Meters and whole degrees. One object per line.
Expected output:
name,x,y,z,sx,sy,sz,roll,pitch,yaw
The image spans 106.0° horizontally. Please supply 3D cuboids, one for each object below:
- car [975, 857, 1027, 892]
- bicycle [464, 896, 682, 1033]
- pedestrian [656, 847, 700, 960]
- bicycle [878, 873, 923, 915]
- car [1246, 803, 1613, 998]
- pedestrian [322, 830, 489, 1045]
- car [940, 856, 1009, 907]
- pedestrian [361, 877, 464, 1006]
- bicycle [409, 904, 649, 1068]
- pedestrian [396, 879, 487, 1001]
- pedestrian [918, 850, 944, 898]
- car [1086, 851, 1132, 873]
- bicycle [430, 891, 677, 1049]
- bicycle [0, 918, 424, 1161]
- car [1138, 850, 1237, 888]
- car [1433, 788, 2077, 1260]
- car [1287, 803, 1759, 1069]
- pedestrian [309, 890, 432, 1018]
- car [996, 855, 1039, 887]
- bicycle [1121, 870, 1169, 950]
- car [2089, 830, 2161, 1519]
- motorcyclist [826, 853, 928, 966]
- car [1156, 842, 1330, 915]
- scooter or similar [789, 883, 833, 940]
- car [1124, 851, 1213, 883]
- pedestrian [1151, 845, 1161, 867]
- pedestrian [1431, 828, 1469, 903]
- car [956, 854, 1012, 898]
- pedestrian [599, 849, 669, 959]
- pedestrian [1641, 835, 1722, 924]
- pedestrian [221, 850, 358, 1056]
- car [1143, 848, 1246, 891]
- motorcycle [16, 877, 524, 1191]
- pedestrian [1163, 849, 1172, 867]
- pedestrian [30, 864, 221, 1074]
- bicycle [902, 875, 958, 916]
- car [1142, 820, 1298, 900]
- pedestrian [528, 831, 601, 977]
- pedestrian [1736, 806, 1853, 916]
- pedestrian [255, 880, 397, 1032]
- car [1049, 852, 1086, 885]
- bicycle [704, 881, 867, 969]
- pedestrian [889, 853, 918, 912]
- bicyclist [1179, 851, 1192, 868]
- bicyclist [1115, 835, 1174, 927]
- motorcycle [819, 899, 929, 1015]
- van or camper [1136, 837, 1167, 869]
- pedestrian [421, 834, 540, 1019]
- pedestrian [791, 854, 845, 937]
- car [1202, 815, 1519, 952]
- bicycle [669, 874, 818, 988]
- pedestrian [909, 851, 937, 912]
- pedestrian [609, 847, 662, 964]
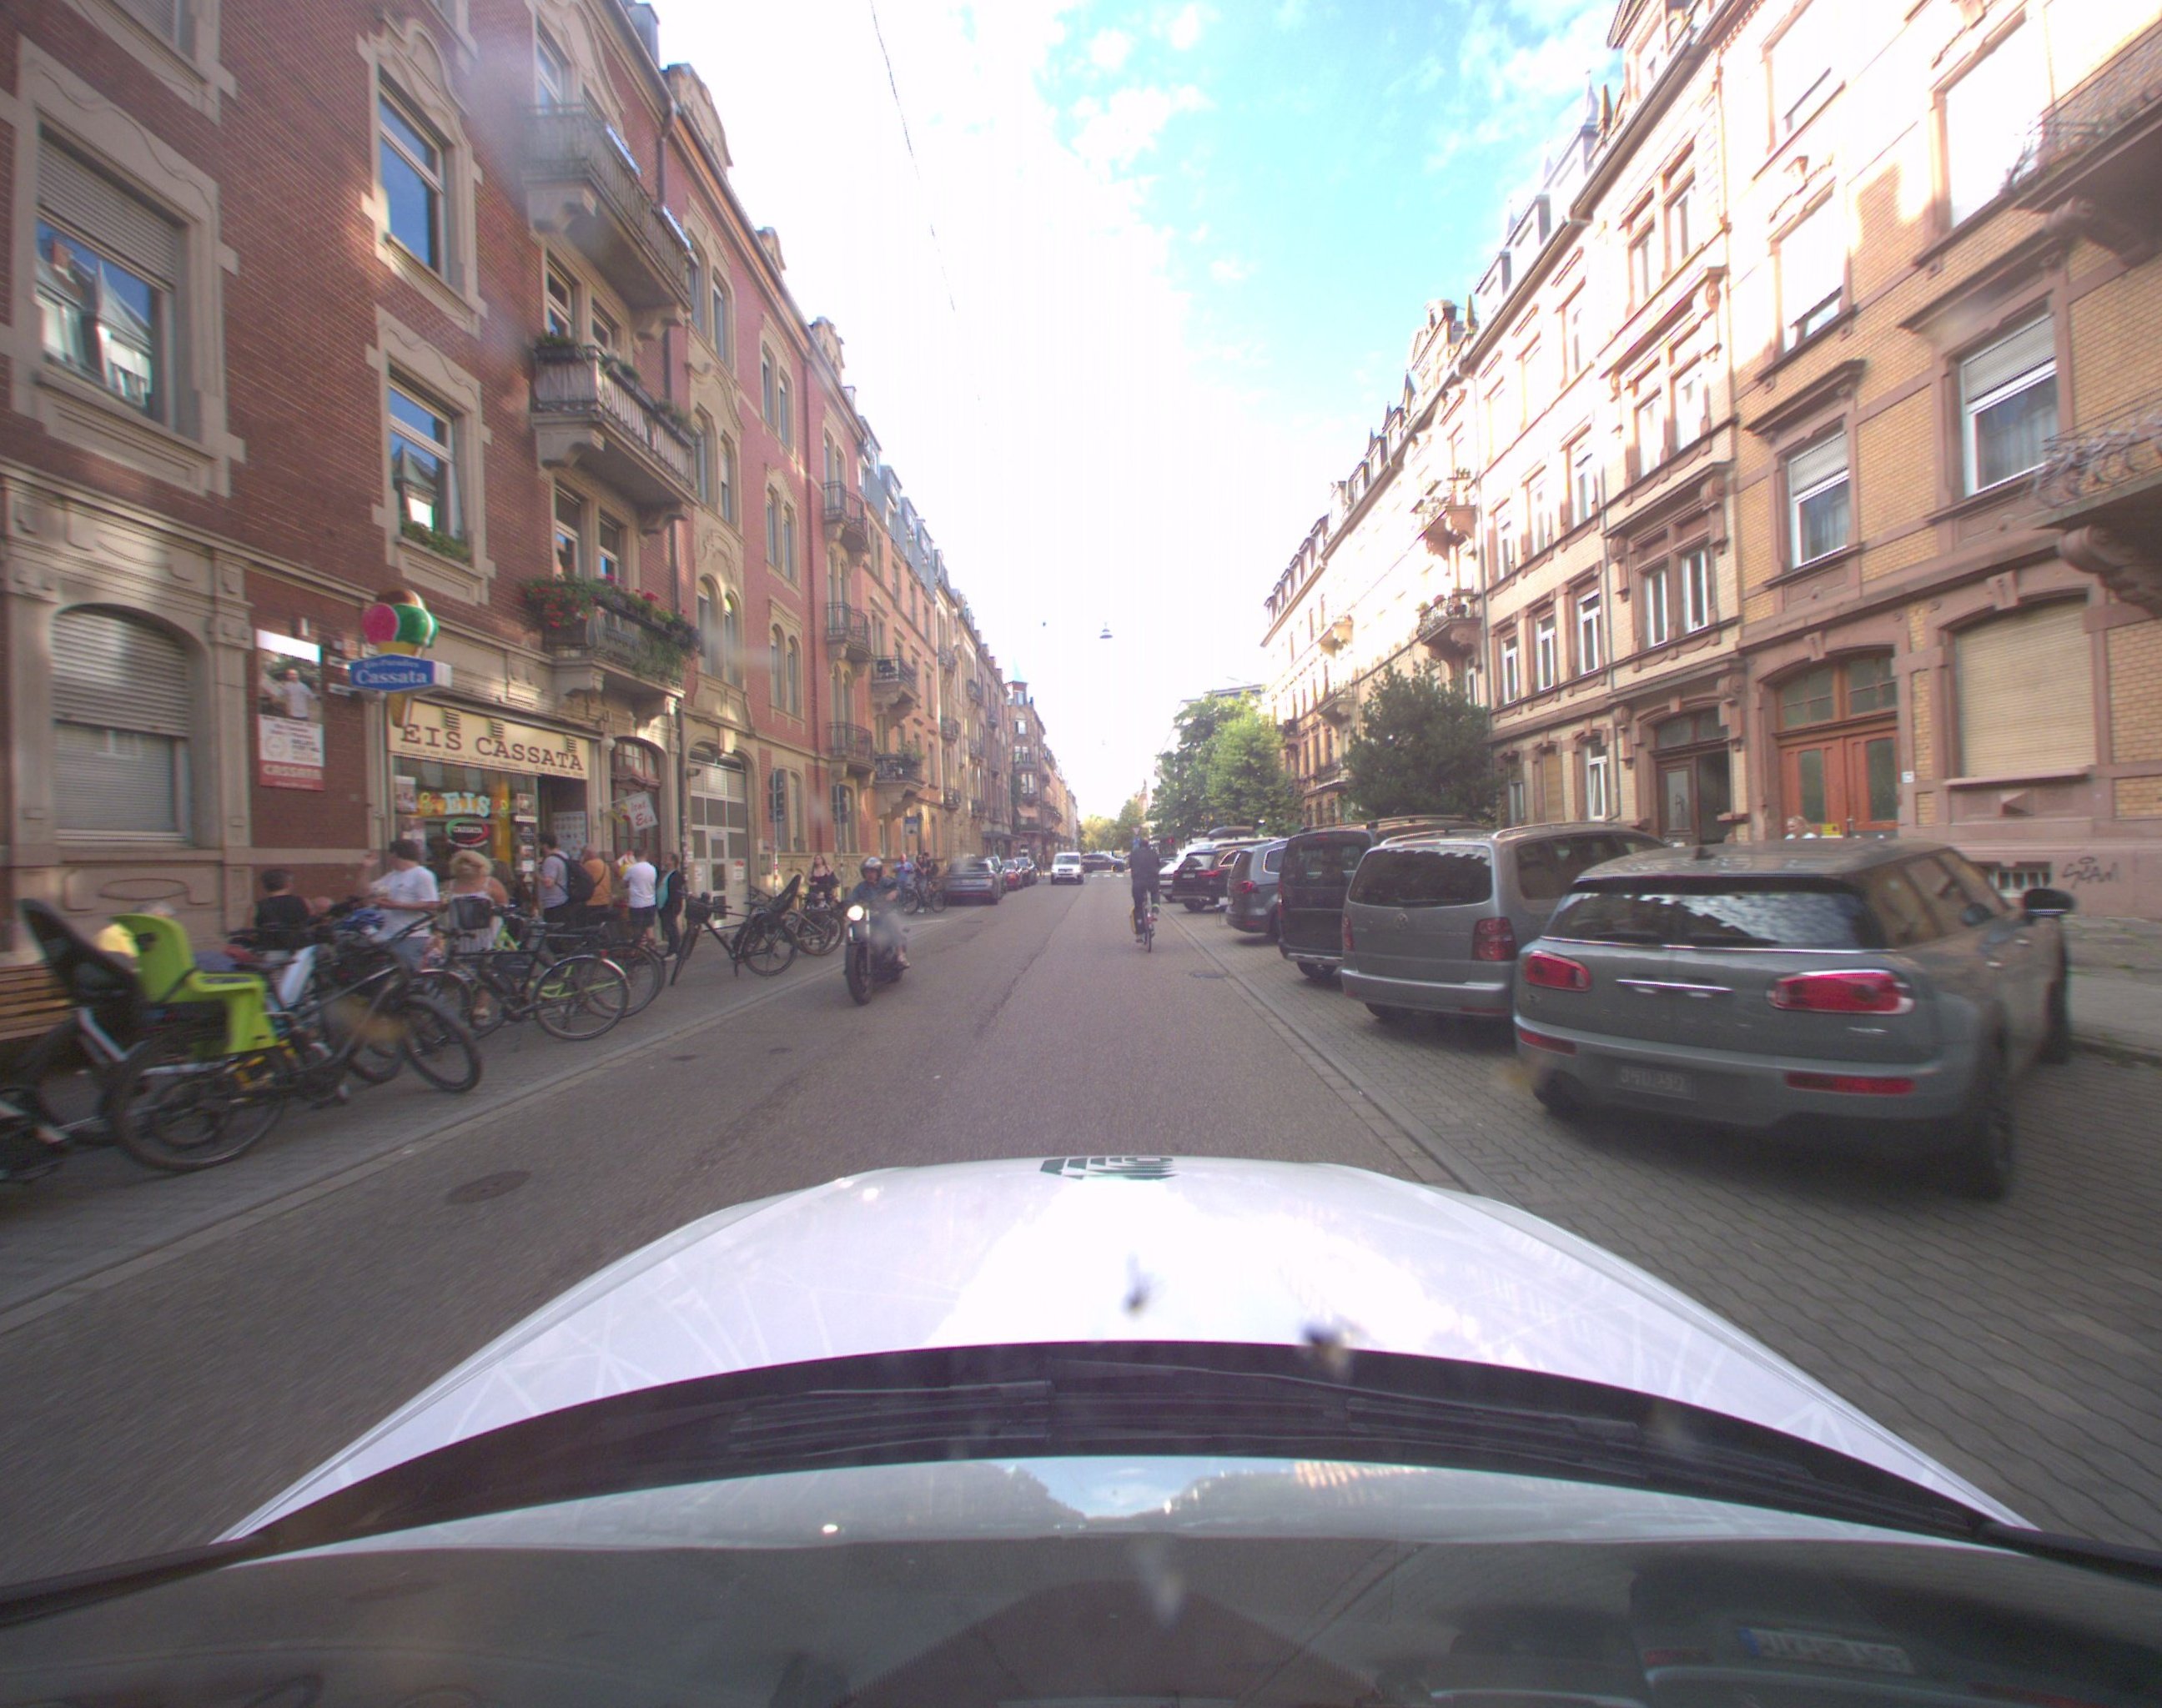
car,-3.823,0.951,39.791,1.986,1.545,4.427,-2,-1,1
bicycle,-4.893,1.013,7.923,1.745,1.120,0.549,0,-1,-35
pedestrian,-6.266,0.744,12.657,0.567,1.696,0.641,0,-1,-29
bicycle,-4.939,1.071,22.380,0.490,1.095,1.910,0,-1,11
car,4.323,0.424,9.918,4.418,1.822,1.738,-4,-1,-30
pedestrian,-5.907,0.686,7.167,0.600,1.751,0.949,-1,-1,14
car,-3.600,0.889,28.387,1.820,1.578,5.259,-1,0,-2
pedestrian,-7.114,0.917,8.681,0.715,1.313,0.439,-1,-1,-3
bicycle,-4.482,1.017,6.711,1.577,1.120,0.584,0,-1,-35
pedestrian,-7.130,0.942,9.092,0.699,1.313,0.372,-1,-1,-3
pedestrian,-5.766,0.759,31.320,0.752,1.808,0.864,-1,0,5
car,2.409,0.675,71.171,3.973,1.882,2.000,-1,0,0
bicycle,-4.680,0.971,7.331,1.798,1.200,0.584,0,-1,-35
bicycle,-5.191,1.012,5.041,0.574,1.090,1.745,-1,0,15
car,5.141,0.704,39.078,4.486,1.464,1.860,-4,1,-33
car,4.052,0.513,4.695,4.018,1.548,1.848,-4,0,-36
car,4.035,0.517,7.330,4.012,1.741,1.822,-3,0,-30
pedestrian,-7.096,0.982,8.159,0.706,1.196,0.585,-1,-1,-3
car,-3.454,0.938,45.259,1.784,1.628,4.849,-2,-1,2
bicycle,1.036,0.871,13.563,0.663,1.178,2.498,-1,0,2
car,4.413,0.528,2.062,4.014,1.450,1.719,-5,-1,-31
motorcyclist,-2.364,0.625,9.548,1.011,1.245,0.802,-1,-1,-5
car,4.383,0.586,21.845,4.475,1.732,1.979,-1,0,-34
scooter or similar,-5.302,1.109,16.019,0.604,1.055,0.921,0,0,-4
car,5.113,0.746,47.505,4.779,1.456,2.039,-4,1,-27
pedestrian,5.996,0.190,65.190,0.624,1.739,0.778,-2,0,14
pedestrian,8.325,0.253,18.378,0.571,1.659,0.633,-1,-1,2
car,-3.989,0.848,34.055,1.868,1.681,4.891,-1,0,-2
pedestrian,-7.056,0.770,12.895,0.661,1.696,0.763,-1,0,1
pedestrian,8.755,0.356,11.903,0.598,1.219,0.674,-5,0,1
pedestrian,-6.501,0.780,6.715,0.551,1.616,0.584,-1,-1,2
car,5.085,0.663,36.175,4.491,1.477,1.868,-5,2,-38
motorcycle,-4.518,0.856,4.811,0.702,1.384,2.032,-1,0,16
pedestrian,8.923,0.401,83.807,0.864,1.851,0.613,-2,0,7
pedestrian,-7.181,0.815,6.148,0.600,1.470,0.728,-1,-1,12
bicycle,-4.174,1.127,22.684,0.477,1.059,1.915,0,-1,26
car,4.779,0.165,27.652,5.178,2.405,1.899,-3,0,-32
pedestrian,-6.835,0.635,10.807,0.765,1.854,0.659,0,-1,-30
pedestrian,10.315,0.099,11.798,0.926,1.497,0.811,-3,0,-5
pedestrian,-6.905,0.906,7.479,0.721,1.313,0.606,-1,-1,-2
car,-0.740,0.819,47.938,1.910,1.828,4.440,-1,0,2
bicycle,-4.503,1.033,12.599,0.798,1.159,2.284,-1,0,39
pedestrian,-5.142,0.818,23.597,0.683,1.661,0.546,0,-1,-29
bicyclist,10.050,0.534,78.310,0.792,1.665,0.849,0,0,-31
bicyclist,1.056,0.444,13.644,0.930,1.484,0.747,-1,-1,1
motorcycle,-2.277,1.082,9.283,0.792,0.995,2.495,-1,0,-5
van or camper,7.021,-0.054,81.536,2.523,3.037,4.457,-2,0,0
pedestrian,-5.984,0.696,8.142,0.600,1.751,0.728,-1,-1,12
pedestrian,-5.404,0.831,16.778,0.910,1.661,0.826,-1,0,-7
car,4.529,0.437,13.688,4.621,1.784,1.810,-5,2,0
bicycle,-4.301,0.938,10.439,1.684,1.322,0.522,0,-1,-35
pedestrian,-4.558,0.777,23.456,0.568,1.709,0.661,0,-1,-33
pedestrian,-6.645,0.742,12.147,0.667,1.696,0.580,0,-1,-29
